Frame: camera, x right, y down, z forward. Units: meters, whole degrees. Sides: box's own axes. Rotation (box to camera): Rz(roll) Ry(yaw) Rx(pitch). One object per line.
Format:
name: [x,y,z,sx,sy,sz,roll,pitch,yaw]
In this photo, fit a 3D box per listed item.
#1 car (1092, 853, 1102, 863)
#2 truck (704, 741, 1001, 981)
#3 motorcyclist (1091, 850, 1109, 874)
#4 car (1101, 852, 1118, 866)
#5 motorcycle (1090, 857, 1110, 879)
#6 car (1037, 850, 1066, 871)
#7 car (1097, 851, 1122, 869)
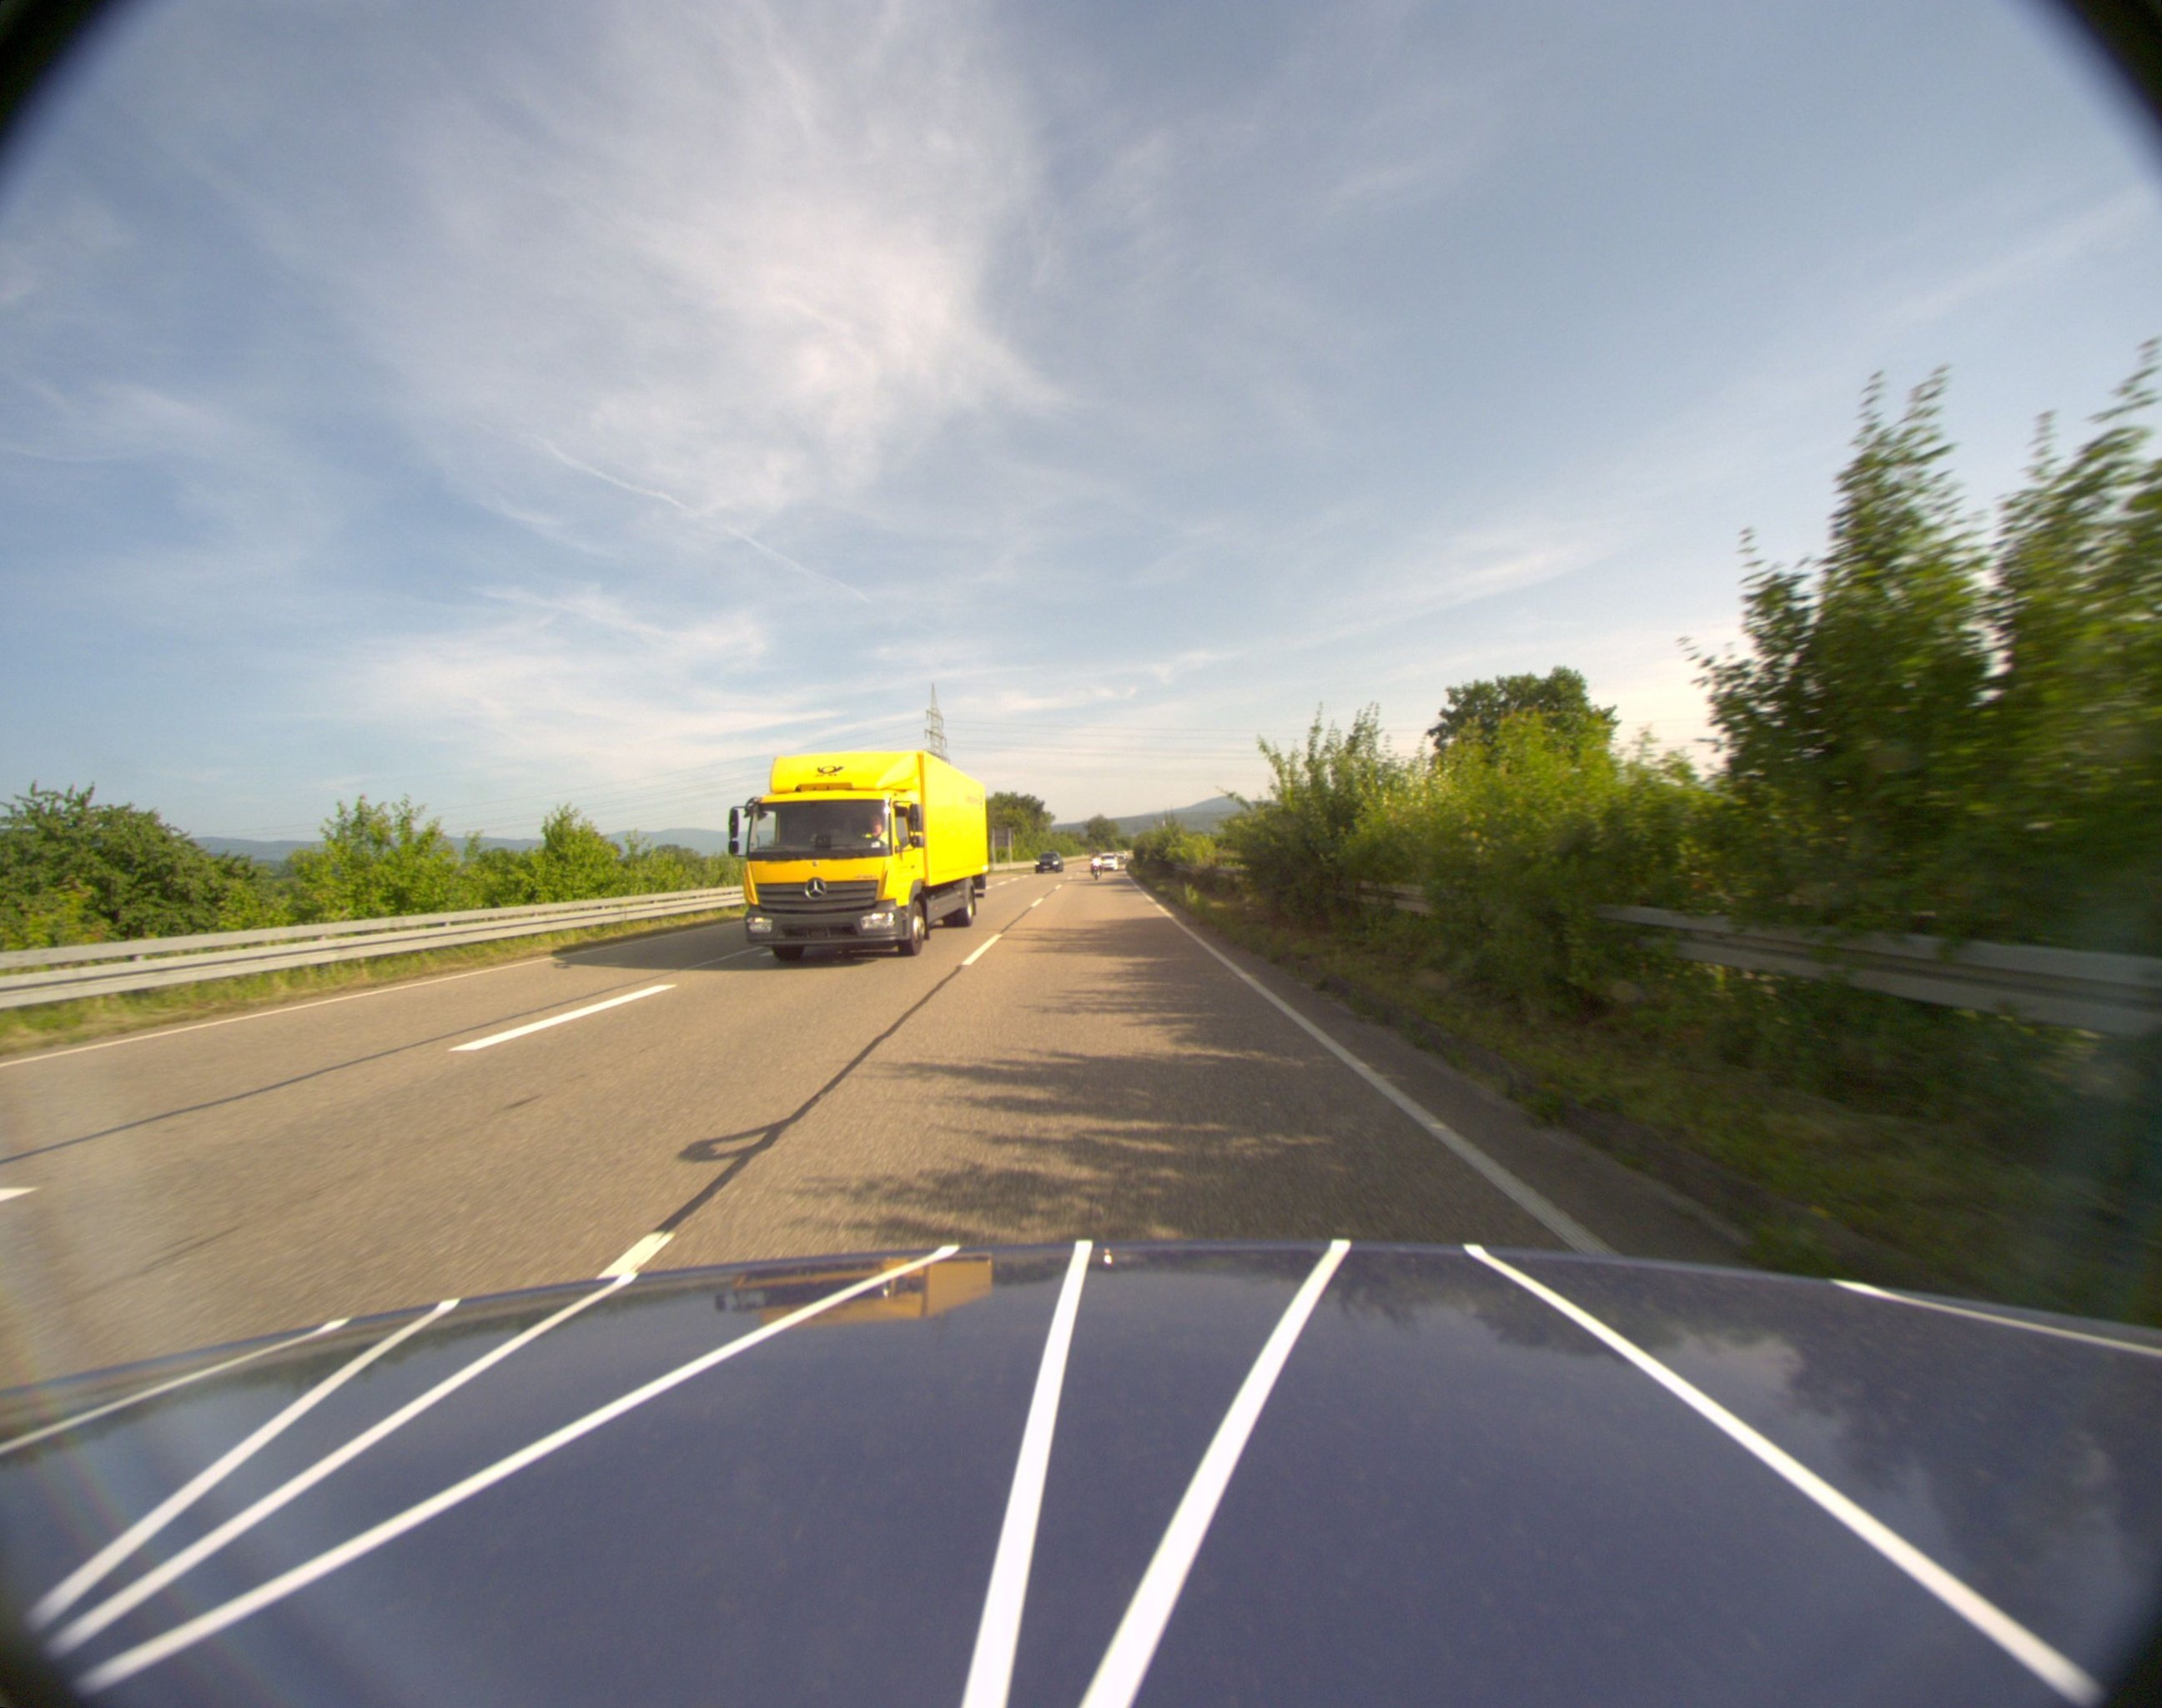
car: [2.715,0.695,128.165,1.677,1.541,3.826,-2,1,2]
truck: [-3.794,0.083,16.014,2.785,3.297,10.489,-2,0,1]
motorcyclist: [1.094,0.471,43.837,0.936,1.344,1.143,-1,1,5]
car: [3.432,0.627,92.018,1.676,1.541,3.828,-2,1,7]
motorcycle: [1.094,0.783,43.918,0.936,1.132,2.583,-1,1,5]
car: [-2.470,0.546,64.009,1.877,1.630,4.001,-2,1,6]
car: [2.433,0.483,63.961,1.869,1.454,4.084,-2,1,4]
